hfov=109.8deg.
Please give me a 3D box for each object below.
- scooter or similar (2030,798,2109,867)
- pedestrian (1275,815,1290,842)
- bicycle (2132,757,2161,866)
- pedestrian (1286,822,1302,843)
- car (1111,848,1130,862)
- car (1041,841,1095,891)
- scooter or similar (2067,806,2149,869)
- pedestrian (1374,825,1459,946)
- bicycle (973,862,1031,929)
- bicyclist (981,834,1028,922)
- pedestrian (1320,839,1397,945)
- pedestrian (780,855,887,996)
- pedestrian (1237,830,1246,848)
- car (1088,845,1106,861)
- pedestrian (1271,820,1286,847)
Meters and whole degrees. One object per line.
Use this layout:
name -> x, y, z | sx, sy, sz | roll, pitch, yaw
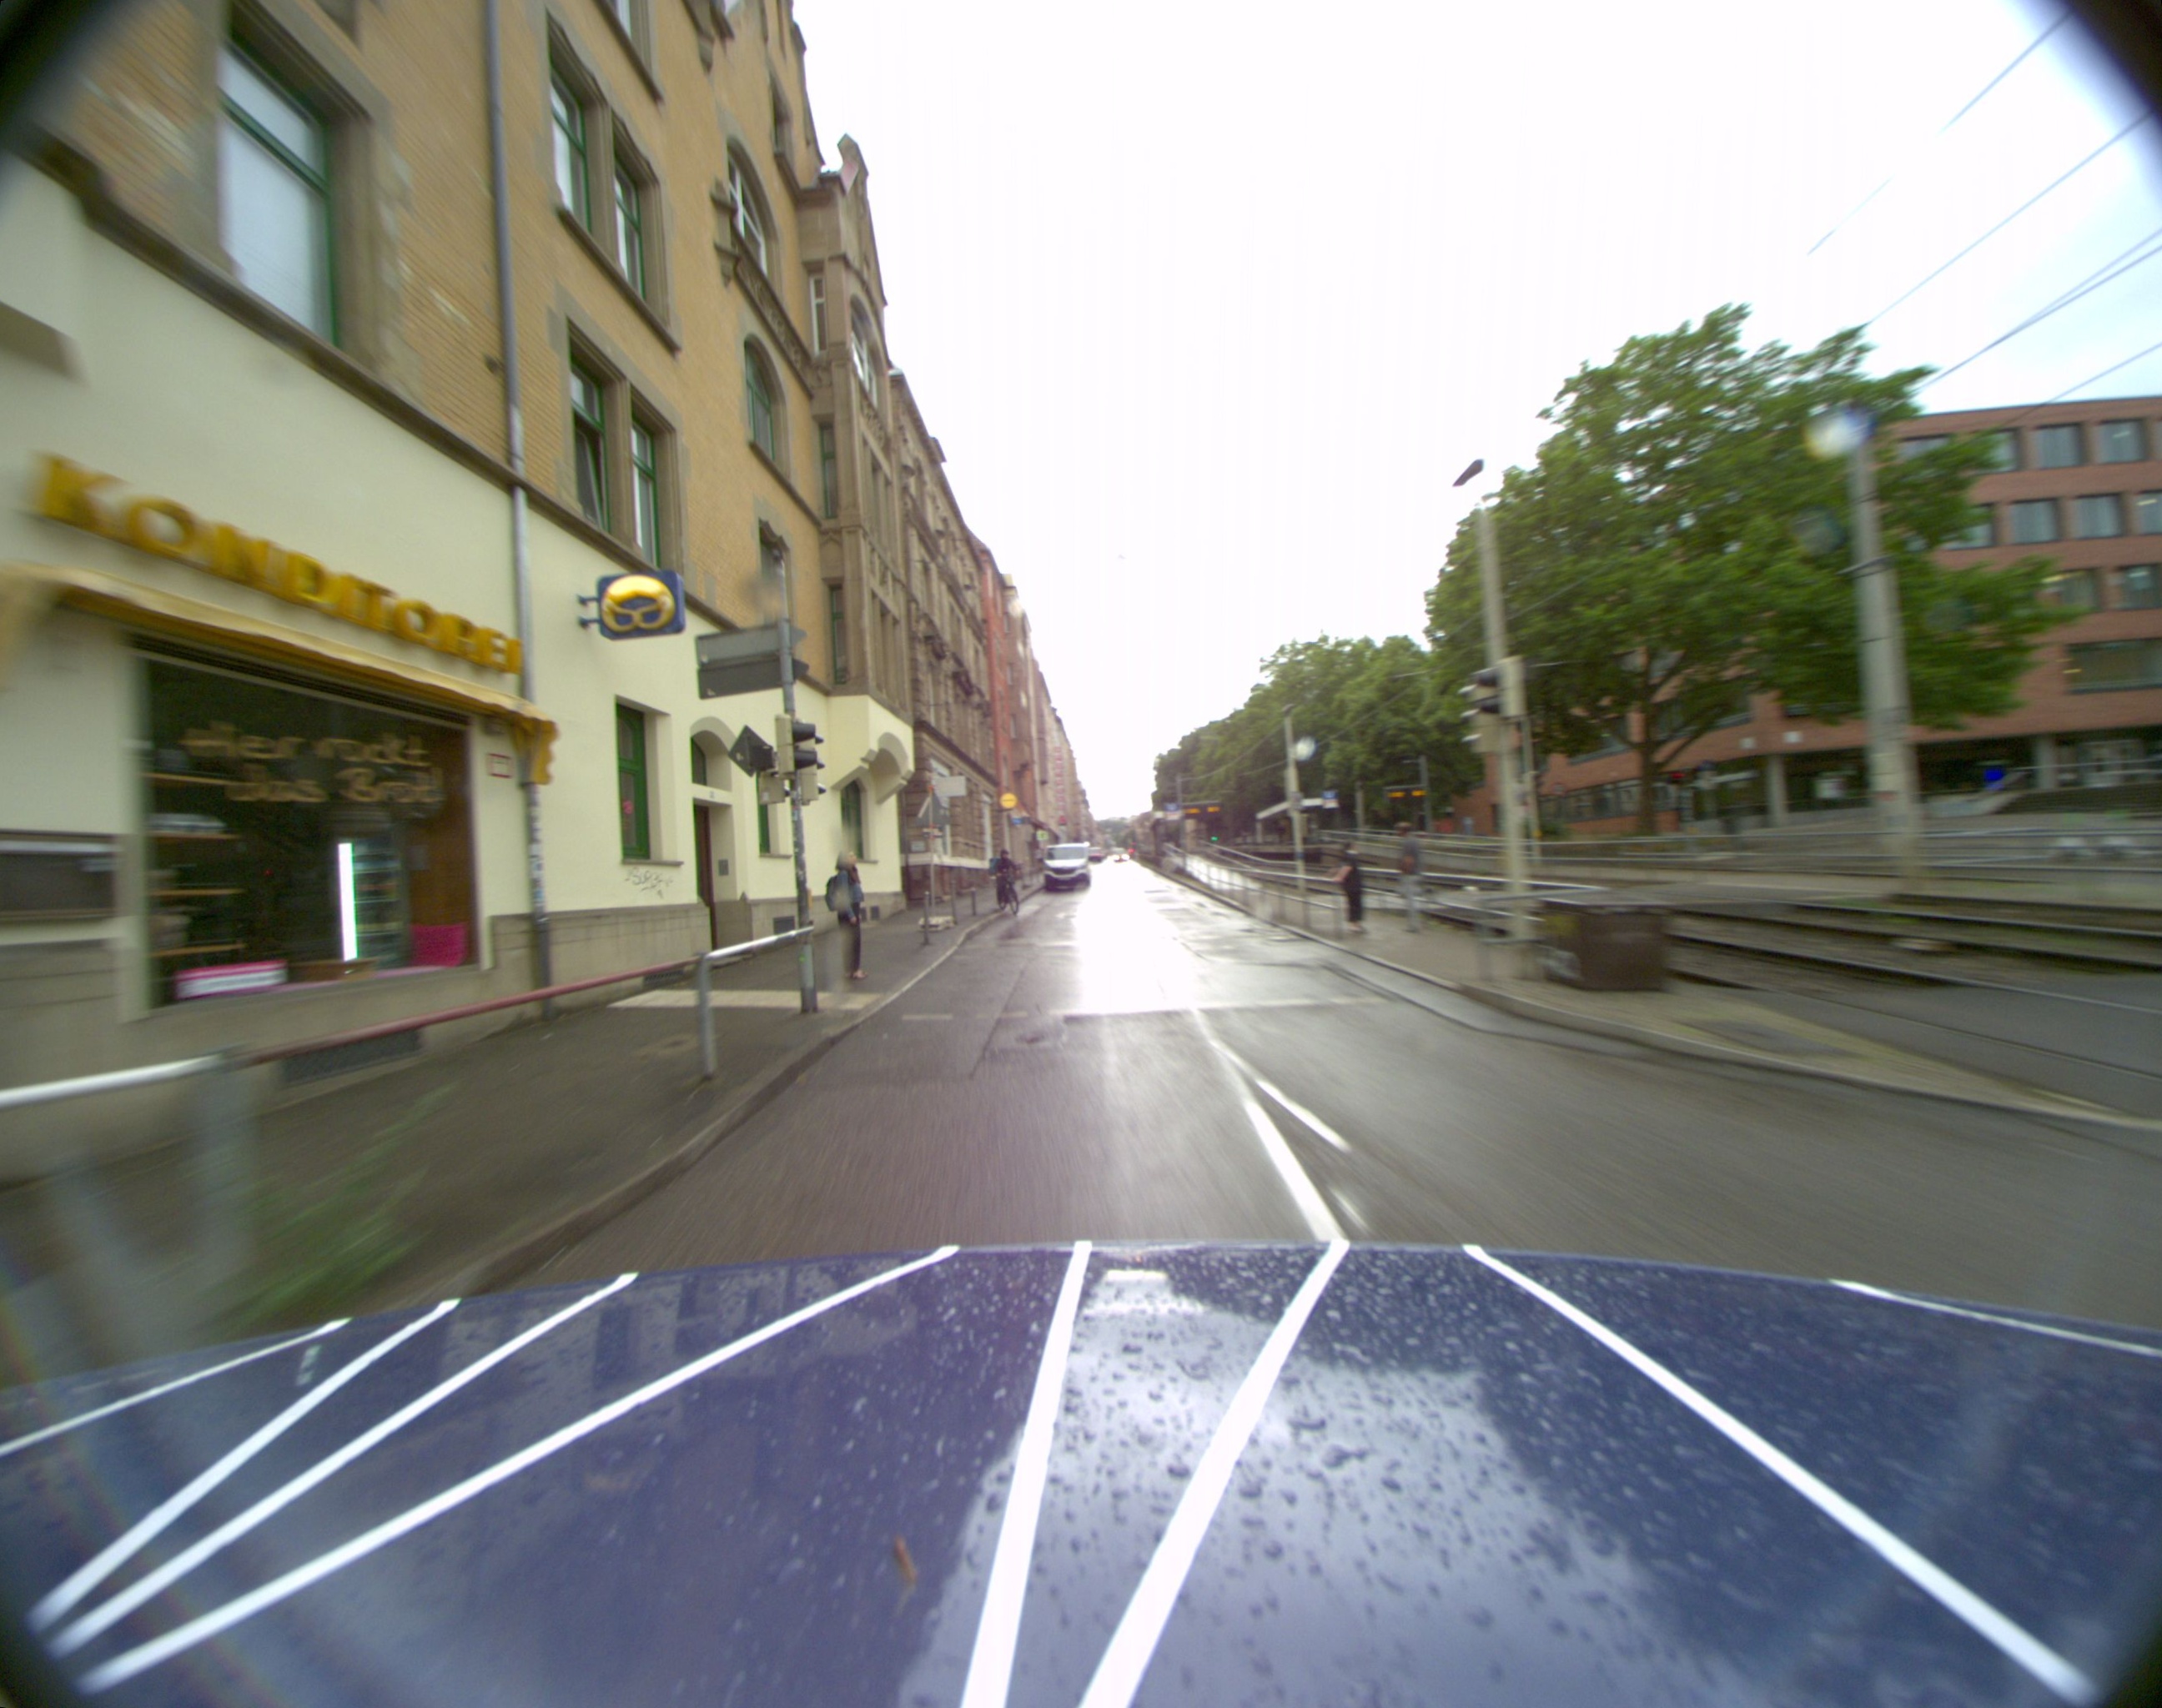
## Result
scooter or similar -> 21.117, -0.465, 16.229 | 1.507, 1.363, 0.452 | -4, 1, -15
pedestrian -> 15.715, -1.961, 59.348 | 0.837, 2.050, 0.884 | -3, 1, -2
bicycle -> 20.840, -0.854, 14.155 | 1.896, 2.002, 0.518 | -5, 1, -4
pedestrian -> 15.593, -1.559, 55.625 | 0.781, 1.475, 0.884 | -3, 1, -2
car -> 4.414, 0.076, 84.773 | 1.883, 1.439, 4.000 | -4, 1, 1
car -> -0.479, 0.439, 34.243 | 1.825, 1.893, 5.991 | -4, 1, 4
scooter or similar -> 21.038, -0.345, 15.557 | 1.720, 1.187, 0.478 | -4, 1, -19
pedestrian -> 5.284, 0.468, 12.020 | 0.827, 1.788, 1.001 | -3, 1, 0
bicycle -> -2.057, 1.057, 20.410 | 0.936, 1.545, 3.135 | -4, 0, 4
bicyclist -> -2.060, 0.626, 20.660 | 0.920, 2.250, 1.287 | -3, 1, 4
pedestrian -> 4.442, 0.586, 12.231 | 0.836, 1.595, 1.001 | -3, 1, 3
pedestrian -> -3.156, 0.884, 9.781 | 1.019, 1.711, 0.930 | 0, 1, 3
pedestrian -> 16.192, -1.495, 76.620 | 0.676, 1.780, 0.703 | -2, 1, 2
car -> 1.920, -0.151, 91.039 | 1.884, 1.838, 3.999 | -4, 1, -1
pedestrian -> 15.712, -1.614, 60.505 | 0.837, 2.050, 0.884 | -3, 1, -2
